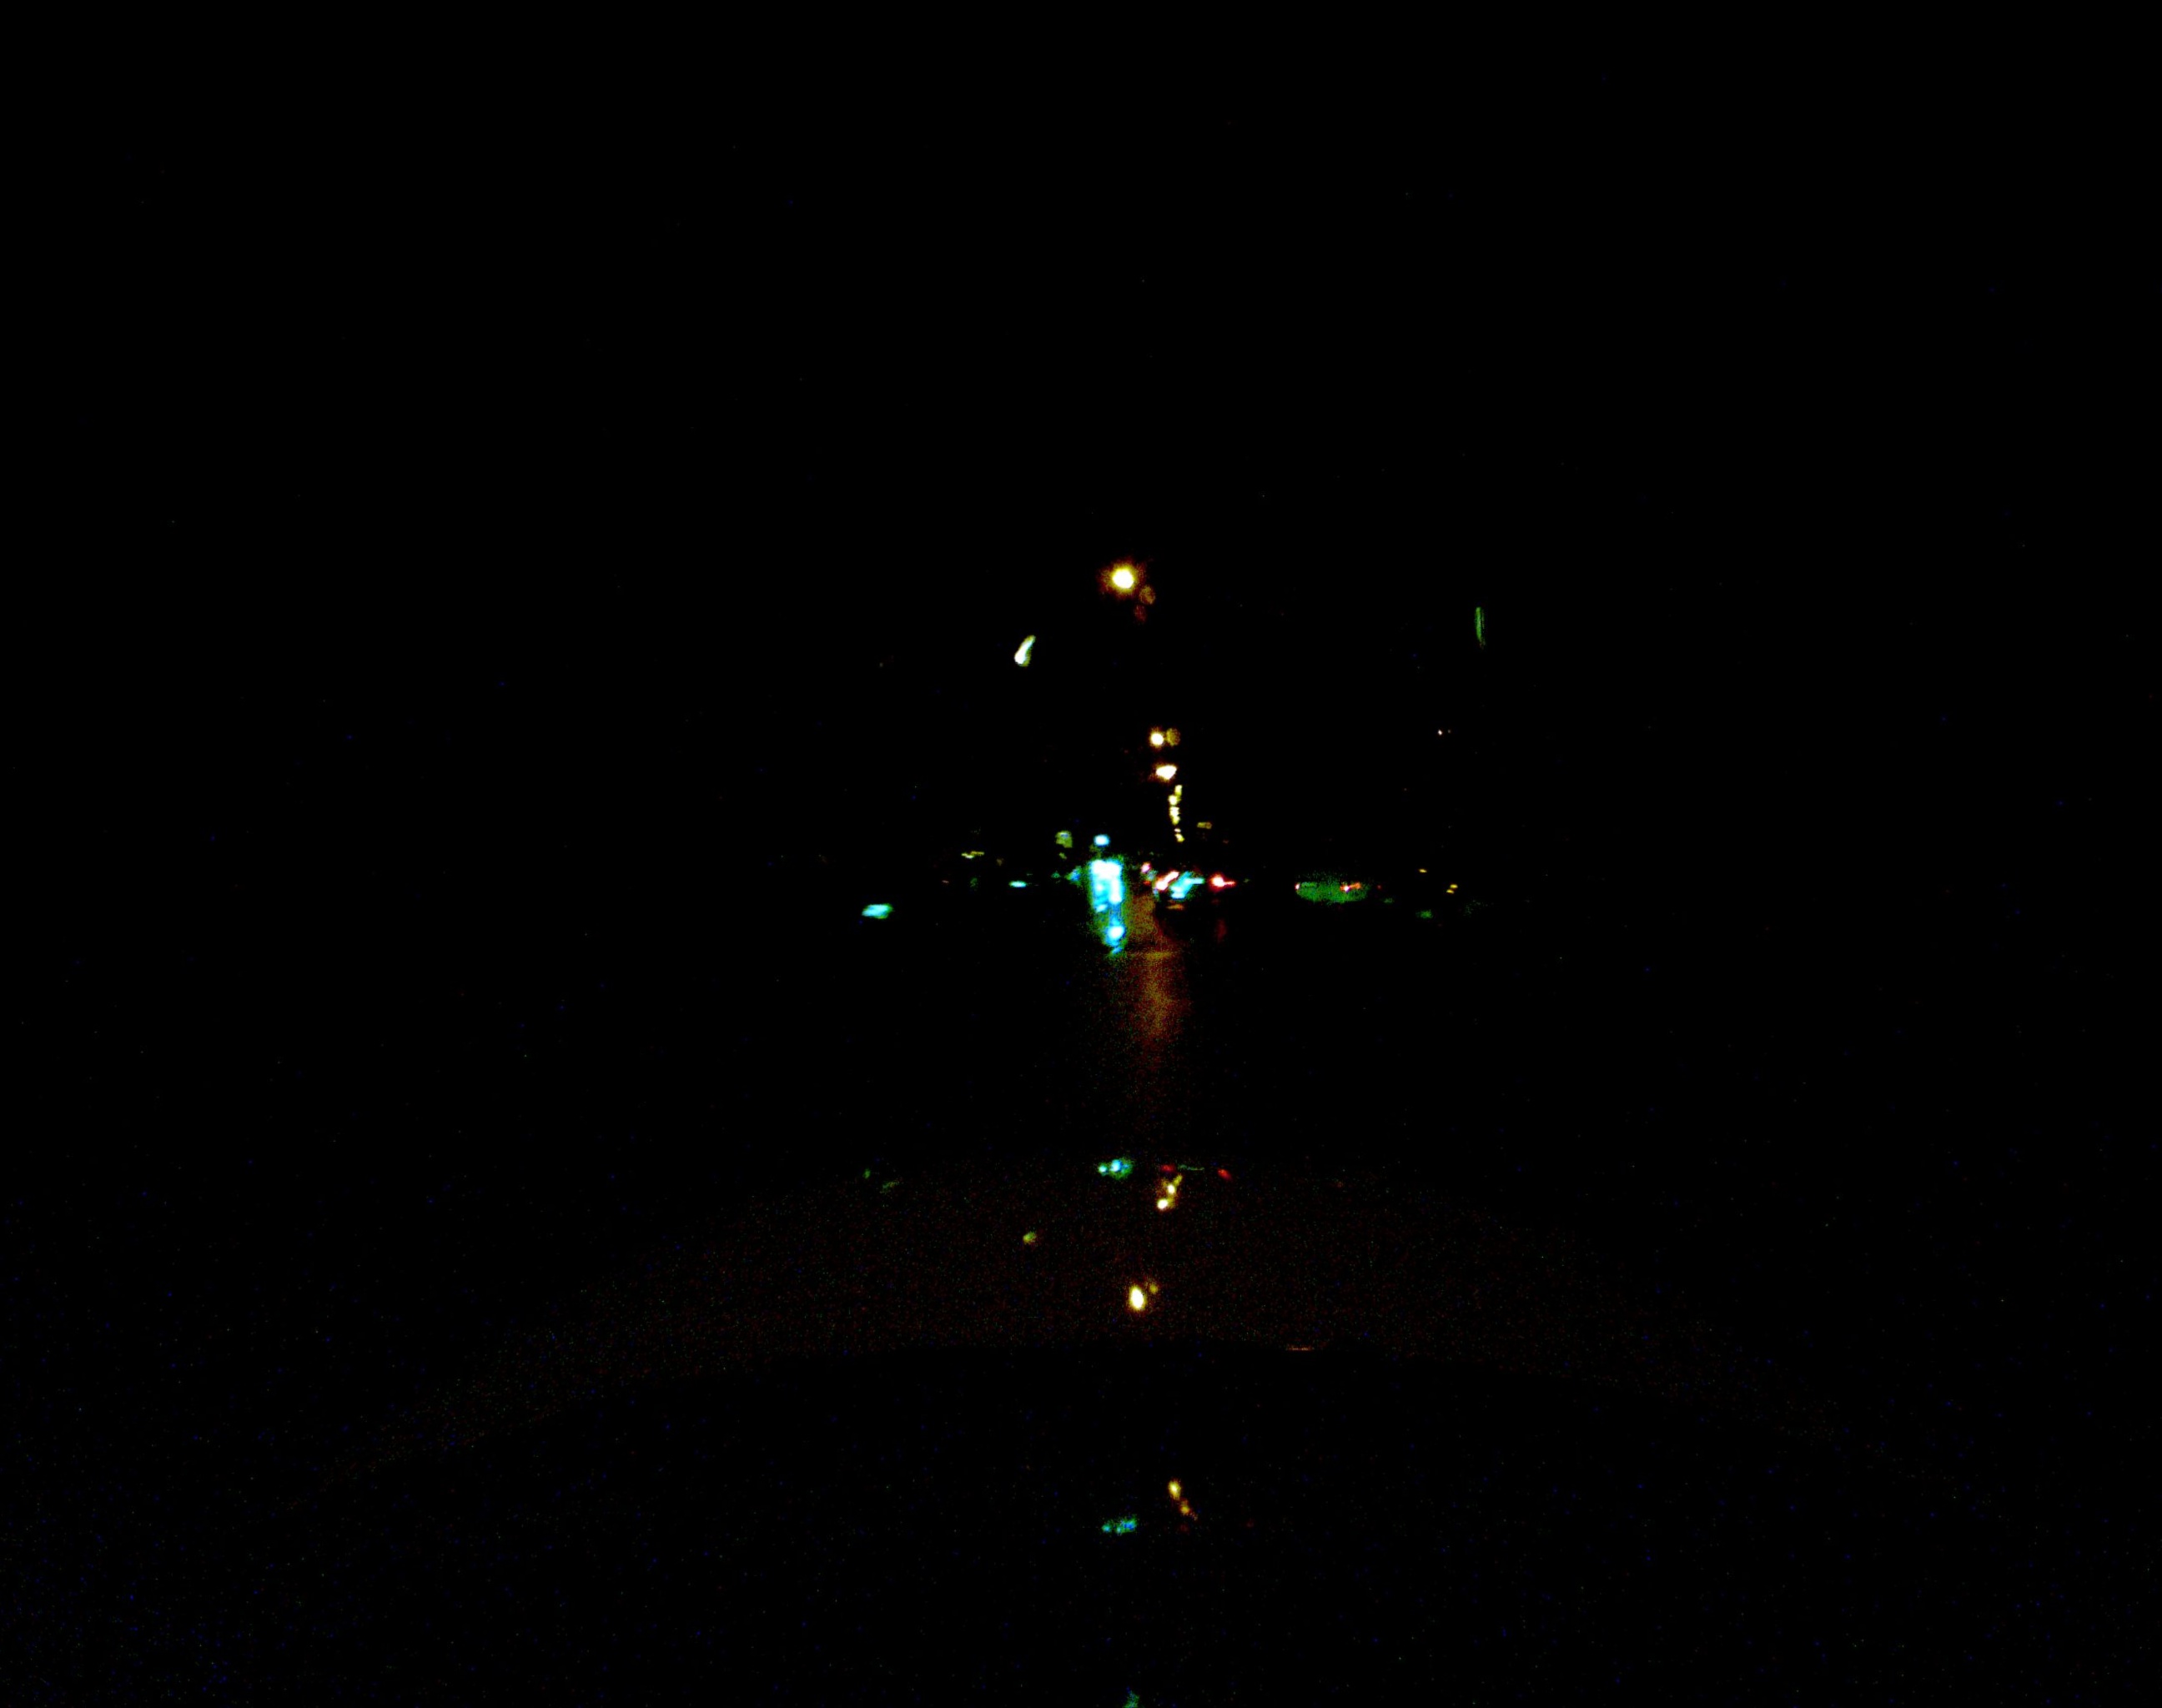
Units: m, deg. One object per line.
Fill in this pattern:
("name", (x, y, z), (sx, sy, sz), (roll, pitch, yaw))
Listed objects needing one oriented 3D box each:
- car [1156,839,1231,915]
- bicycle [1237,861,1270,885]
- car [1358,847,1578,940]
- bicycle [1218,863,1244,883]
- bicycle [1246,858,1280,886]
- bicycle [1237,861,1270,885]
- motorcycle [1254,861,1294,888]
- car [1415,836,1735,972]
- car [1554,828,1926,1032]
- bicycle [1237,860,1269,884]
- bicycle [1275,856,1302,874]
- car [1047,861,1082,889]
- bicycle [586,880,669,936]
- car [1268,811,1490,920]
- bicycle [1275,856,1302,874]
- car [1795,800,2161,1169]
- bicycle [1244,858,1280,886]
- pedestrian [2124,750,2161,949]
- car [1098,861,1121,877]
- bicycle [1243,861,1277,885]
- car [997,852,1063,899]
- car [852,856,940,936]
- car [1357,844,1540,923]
("car", (3.296, 0.663, 24.070), (1.983, 2.051, 4.008), (-1, -1, 7))
("bicycle", (8.868, 0.982, 41.878), (1.588, 1.158, 0.418), (-2, -1, 3))
("car", (7.114, 0.659, 14.953), (3.736, 1.468, 1.600), (-1, -1, -25))
("bicycle", (7.429, 0.958, 40.324), (1.205, 0.948, 0.302), (-2, -1, 3))
("bicycle", (8.820, 0.869, 39.477), (1.570, 1.234, 0.419), (-3, -1, 9))
("bicycle", (8.784, 0.979, 41.435), (1.588, 1.158, 0.418), (-2, -1, 3))
("motorcycle", (8.739, 0.916, 36.904), (1.627, 1.124, 0.653), (-4, -1, 0))
("car", (6.885, 0.598, 11.363), (4.056, 1.561, 1.737), (-2, -1, -23))
("car", (6.442, 0.584, 7.914), (3.521, 1.561, 1.579), (-2, -1, -29))
("bicycle", (9.082, 0.940, 43.061), (1.584, 1.158, 0.541), (-3, -1, 14))
("bicycle", (14.429, 0.744, 56.662), (1.680, 1.146, 0.428), (-4, -1, -2))
("car", (-0.929, 1.094, 44.250), (1.545, 1.443, 3.555), (1, 0, -7))
("bicycle", (-10.211, 1.215, 18.320), (1.946, 1.180, 0.544), (-2, -1, 25))
("car", (7.198, 0.219, 19.607), (4.953, 2.341, 2.211), (-2, -1, -28))
("bicycle", (14.551, 0.750, 57.187), (1.680, 1.146, 0.485), (-4, -1, -2))
("car", (5.827, 0.526, 4.683), (3.408, 1.561, 1.579), (-1, -1, -31))
("bicycle", (8.654, 0.867, 38.973), (1.654, 1.234, 0.386), (-3, -1, 9))
("pedestrian", (10.327, -0.052, 7.333), (0.742, 1.840, 0.844), (-3, 1, 6))
("car", (2.488, 1.286, 70.151), (1.645, 1.359, 4.230), (-1, -1, 7))
("bicycle", (8.908, 0.963, 40.530), (1.588, 1.112, 0.418), (-3, -1, 3))
("car", (-2.109, 0.870, 35.126), (1.856, 1.846, 4.837), (-2, -1, 8))
("car", (-4.456, 0.911, 19.663), (1.814, 1.670, 4.391), (-1, 0, -13))
("car", (7.837, 0.595, 17.379), (3.458, 1.468, 1.617), (-2, -1, -23))
